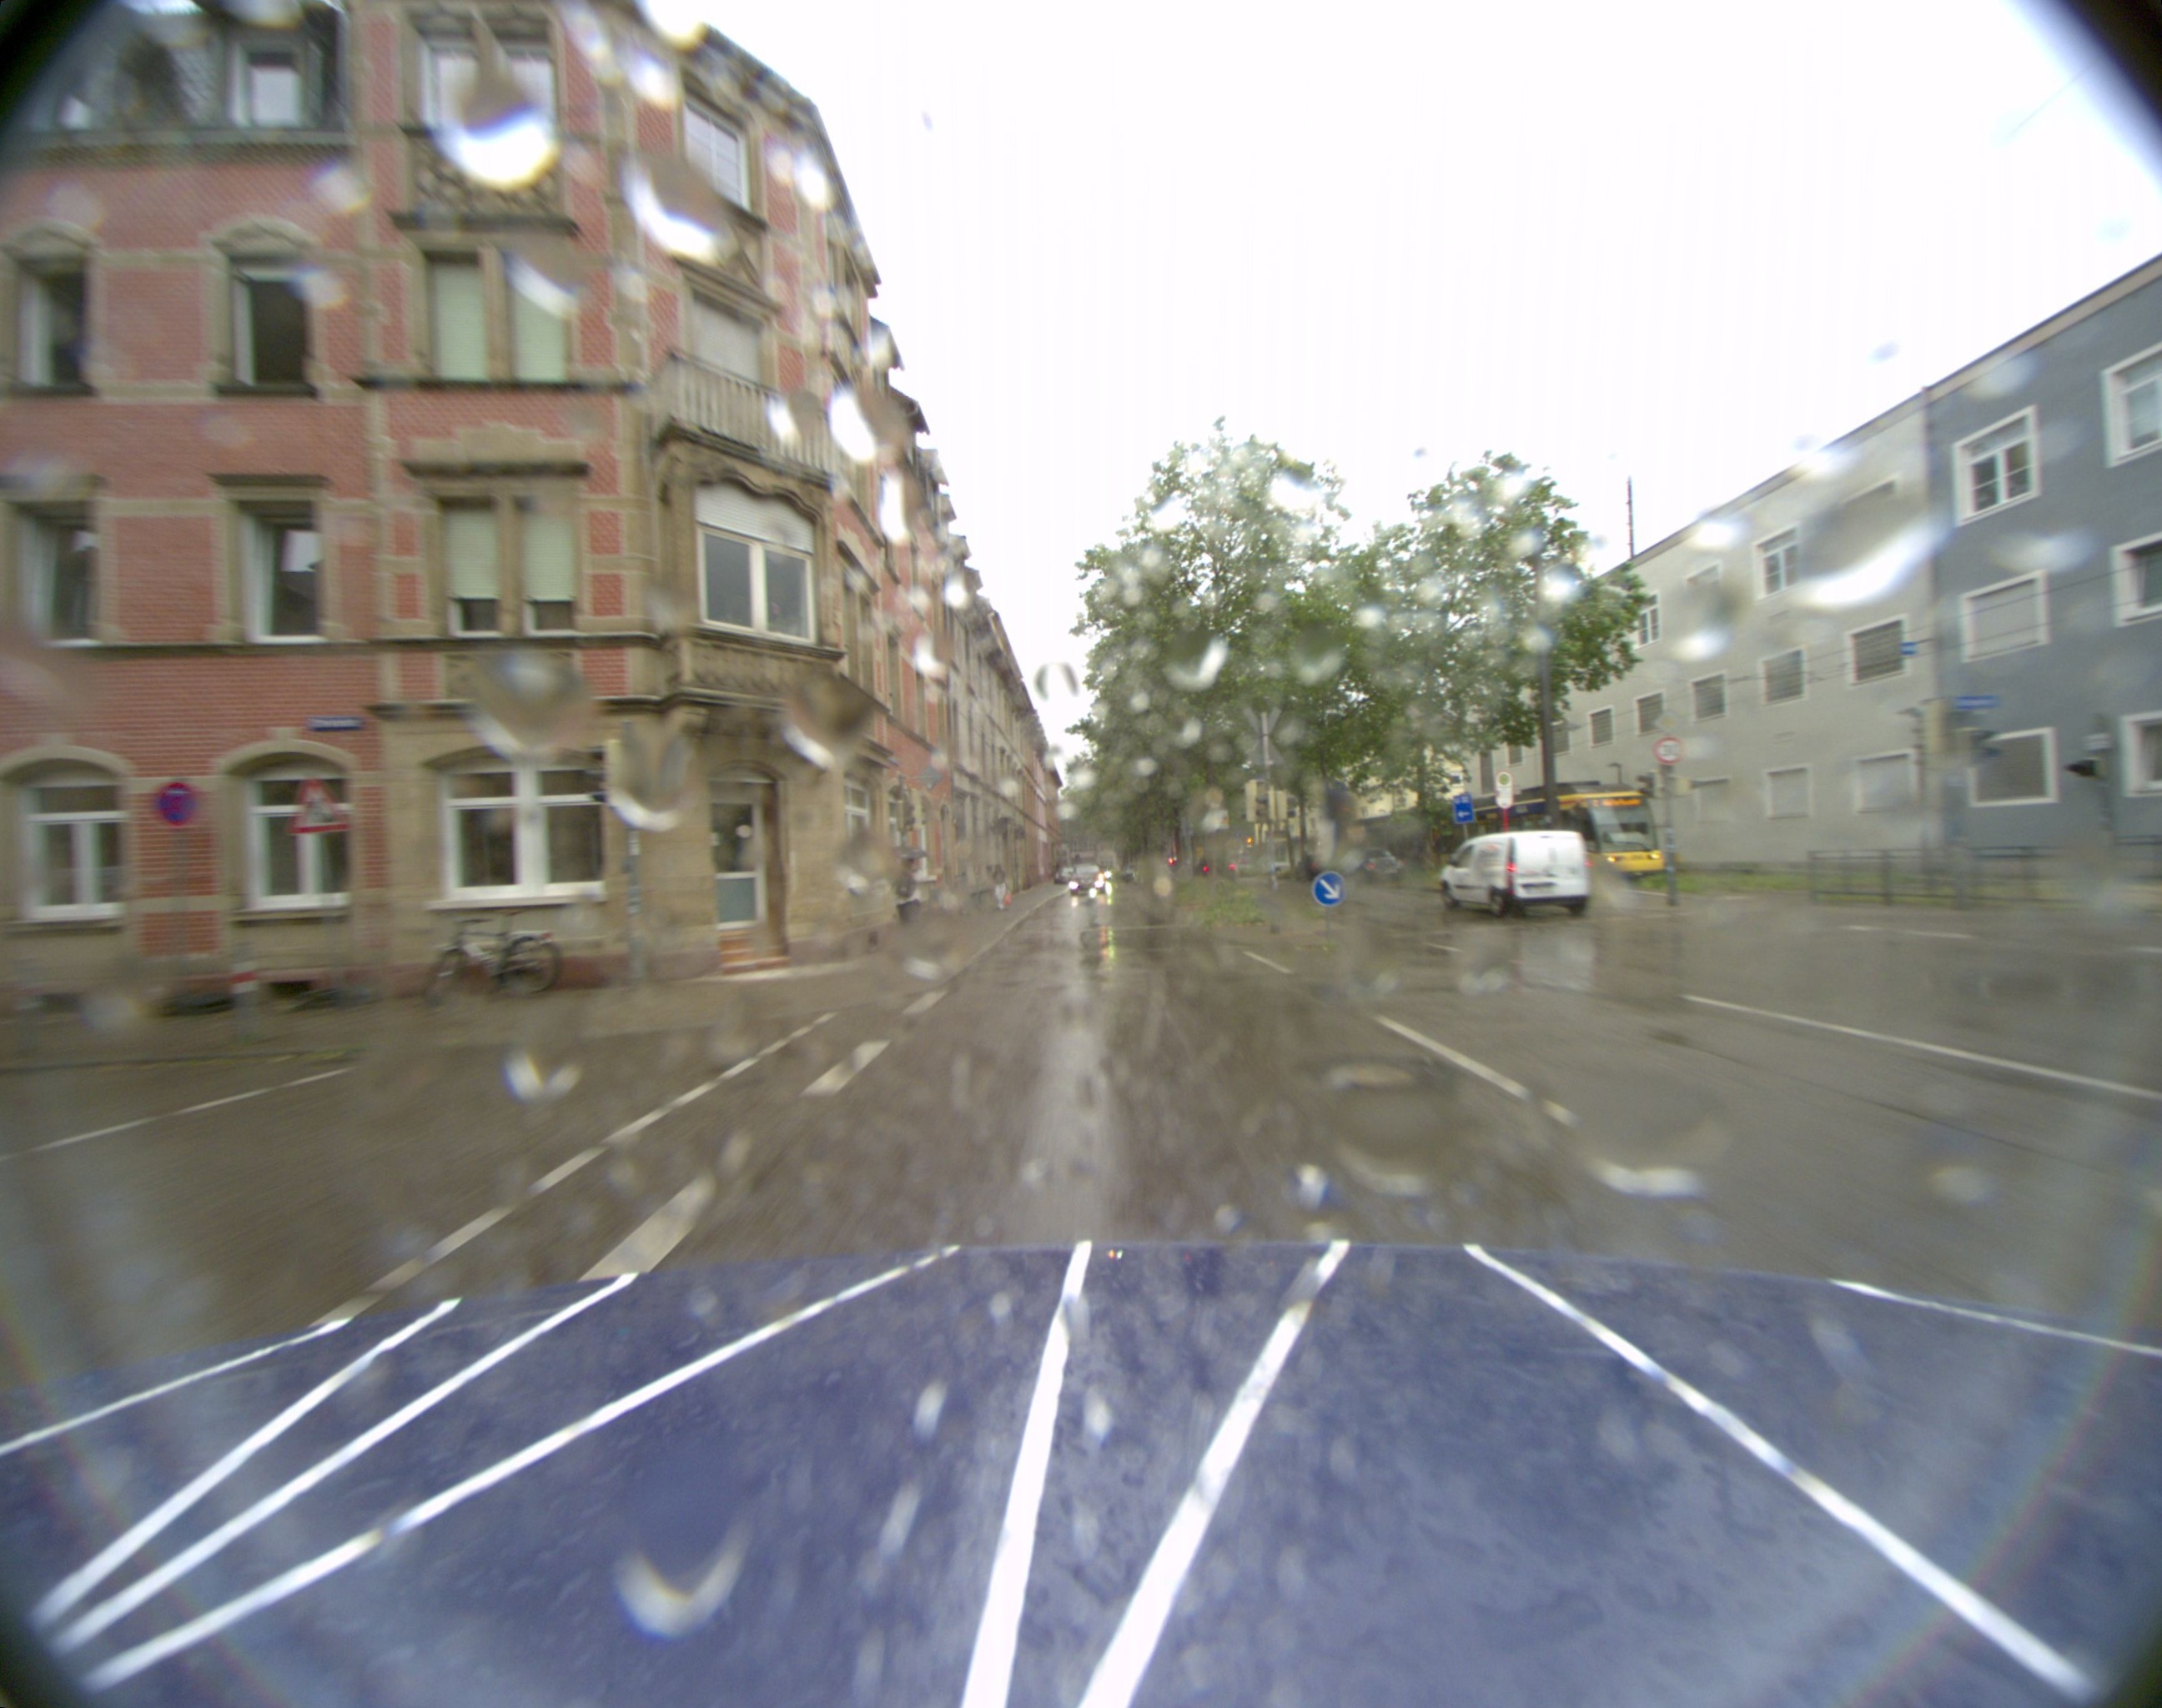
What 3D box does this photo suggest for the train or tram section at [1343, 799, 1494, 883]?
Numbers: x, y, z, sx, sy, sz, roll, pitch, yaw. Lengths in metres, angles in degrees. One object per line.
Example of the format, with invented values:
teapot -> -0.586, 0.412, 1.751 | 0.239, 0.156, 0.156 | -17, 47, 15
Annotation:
train or tram section -> 17.219, -0.560, 40.061 | 2.907, 3.620, 11.553 | -3, 0, 1

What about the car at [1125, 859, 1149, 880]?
car -> 4.458, 1.245, 60.592 | 1.663, 1.566, 3.424 | -3, -1, 7

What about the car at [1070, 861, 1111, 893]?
car -> 0.588, 1.265, 42.991 | 1.976, 1.628, 4.163 | -2, -1, 4

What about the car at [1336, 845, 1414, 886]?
car -> 12.479, 0.495, 32.534 | 1.676, 1.500, 3.975 | -6, -1, 1

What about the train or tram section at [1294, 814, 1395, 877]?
train or tram section -> 17.515, -0.482, 51.574 | 2.907, 3.620, 11.553 | -3, 0, 1

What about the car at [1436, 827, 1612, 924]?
car -> 9.710, 0.450, 17.071 | 1.936, 1.838, 4.069 | -3, -1, 8

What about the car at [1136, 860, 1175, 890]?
car -> 4.017, 1.101, 41.432 | 1.732, 1.473, 4.006 | -3, -1, 1

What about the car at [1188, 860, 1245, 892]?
car -> 7.595, 1.247, 43.051 | 2.062, 1.609, 4.673 | -3, -1, -3

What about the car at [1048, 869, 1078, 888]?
car -> -1.425, 1.972, 61.886 | 1.976, 1.358, 4.163 | 2, -1, 3

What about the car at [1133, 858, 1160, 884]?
car -> 4.369, 1.139, 51.022 | 1.571, 1.566, 3.328 | -3, -1, 1

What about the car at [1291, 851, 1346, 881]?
car -> 12.632, 0.629, 40.550 | 1.676, 1.376, 3.706 | -6, -1, 1

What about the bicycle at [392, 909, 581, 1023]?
bicycle -> -7.342, 1.363, 9.454 | 1.691, 1.214, 0.678 | -3, 0, -6

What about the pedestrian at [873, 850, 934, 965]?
pedestrian -> -3.035, 0.892, 13.065 | 0.787, 1.902, 0.929 | 1, 0, 1

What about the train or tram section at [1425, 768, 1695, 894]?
train or tram section -> 16.932, -0.640, 28.491 | 2.907, 3.620, 11.553 | -3, 0, 1

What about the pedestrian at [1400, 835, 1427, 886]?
pedestrian -> 12.444, 0.254, 28.453 | 0.663, 1.844, 0.635 | -3, 0, 2

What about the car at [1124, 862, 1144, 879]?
car -> 4.752, 1.453, 68.391 | 1.664, 1.419, 3.423 | -3, -1, 3

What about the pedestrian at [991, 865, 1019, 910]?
pedestrian -> -2.718, 1.187, 27.164 | 0.849, 1.564, 0.577 | 3, 0, 1

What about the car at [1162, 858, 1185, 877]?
car -> 8.469, 1.225, 69.661 | 1.676, 1.653, 3.649 | -3, -1, 1
